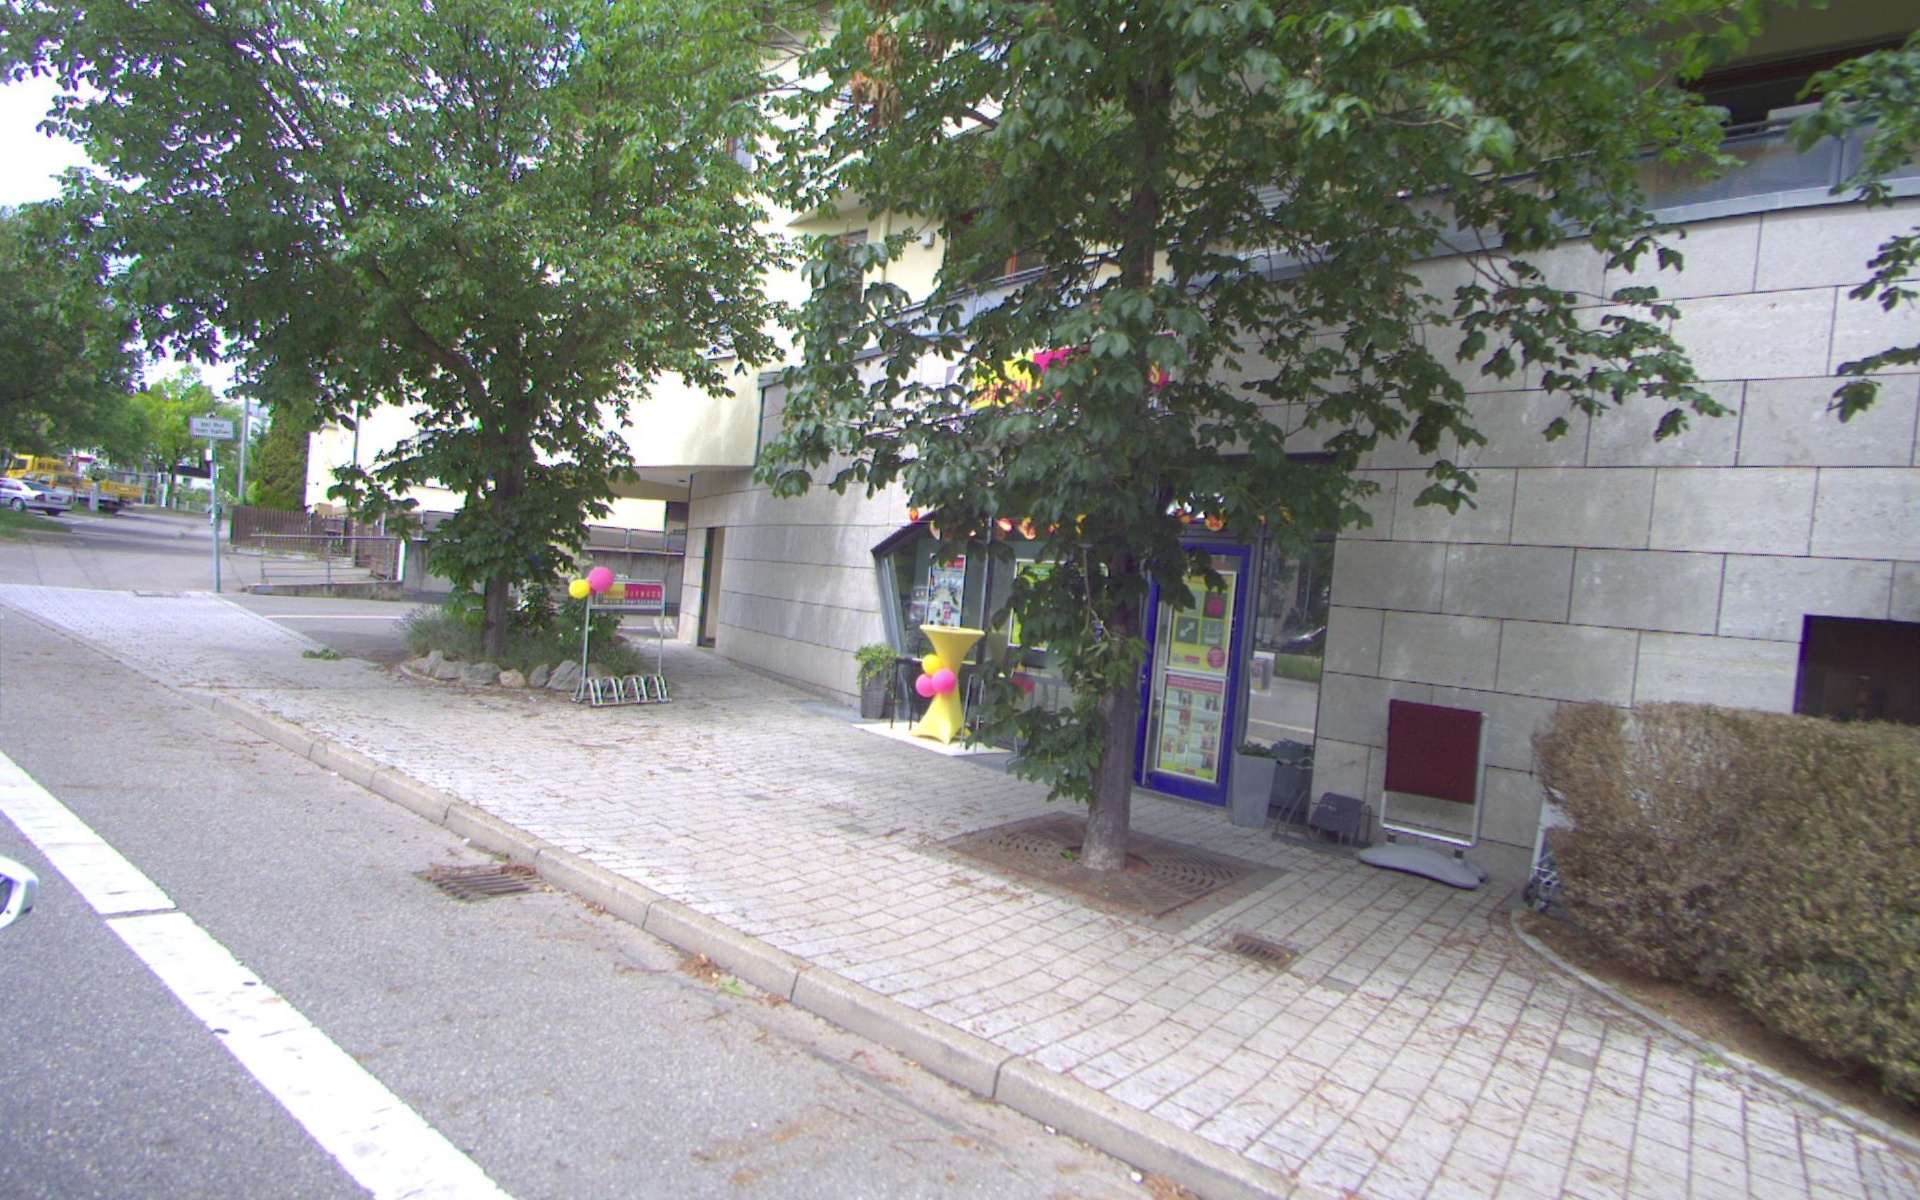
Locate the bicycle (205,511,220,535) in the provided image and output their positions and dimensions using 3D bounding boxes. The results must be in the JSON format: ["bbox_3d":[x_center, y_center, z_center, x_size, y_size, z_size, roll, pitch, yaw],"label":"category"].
[{"bbox_3d":[-35.624,-3.647,47.948,0.459,1.047,2.737,5,0,-36],"label":"bicycle"}]

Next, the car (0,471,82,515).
[{"bbox_3d":[-55.542,-6.447,60.743,1.711,2.038,3.766,6,-1,-4],"label":"car"}]

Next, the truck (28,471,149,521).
[{"bbox_3d":[-50.900,-6.039,58.942,2.050,2.038,5.616,6,-1,0],"label":"truck"}]

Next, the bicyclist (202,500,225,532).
[{"bbox_3d":[-35.558,-3.995,47.898,0.773,1.417,0.695,6,0,-37],"label":"bicyclist"}]
